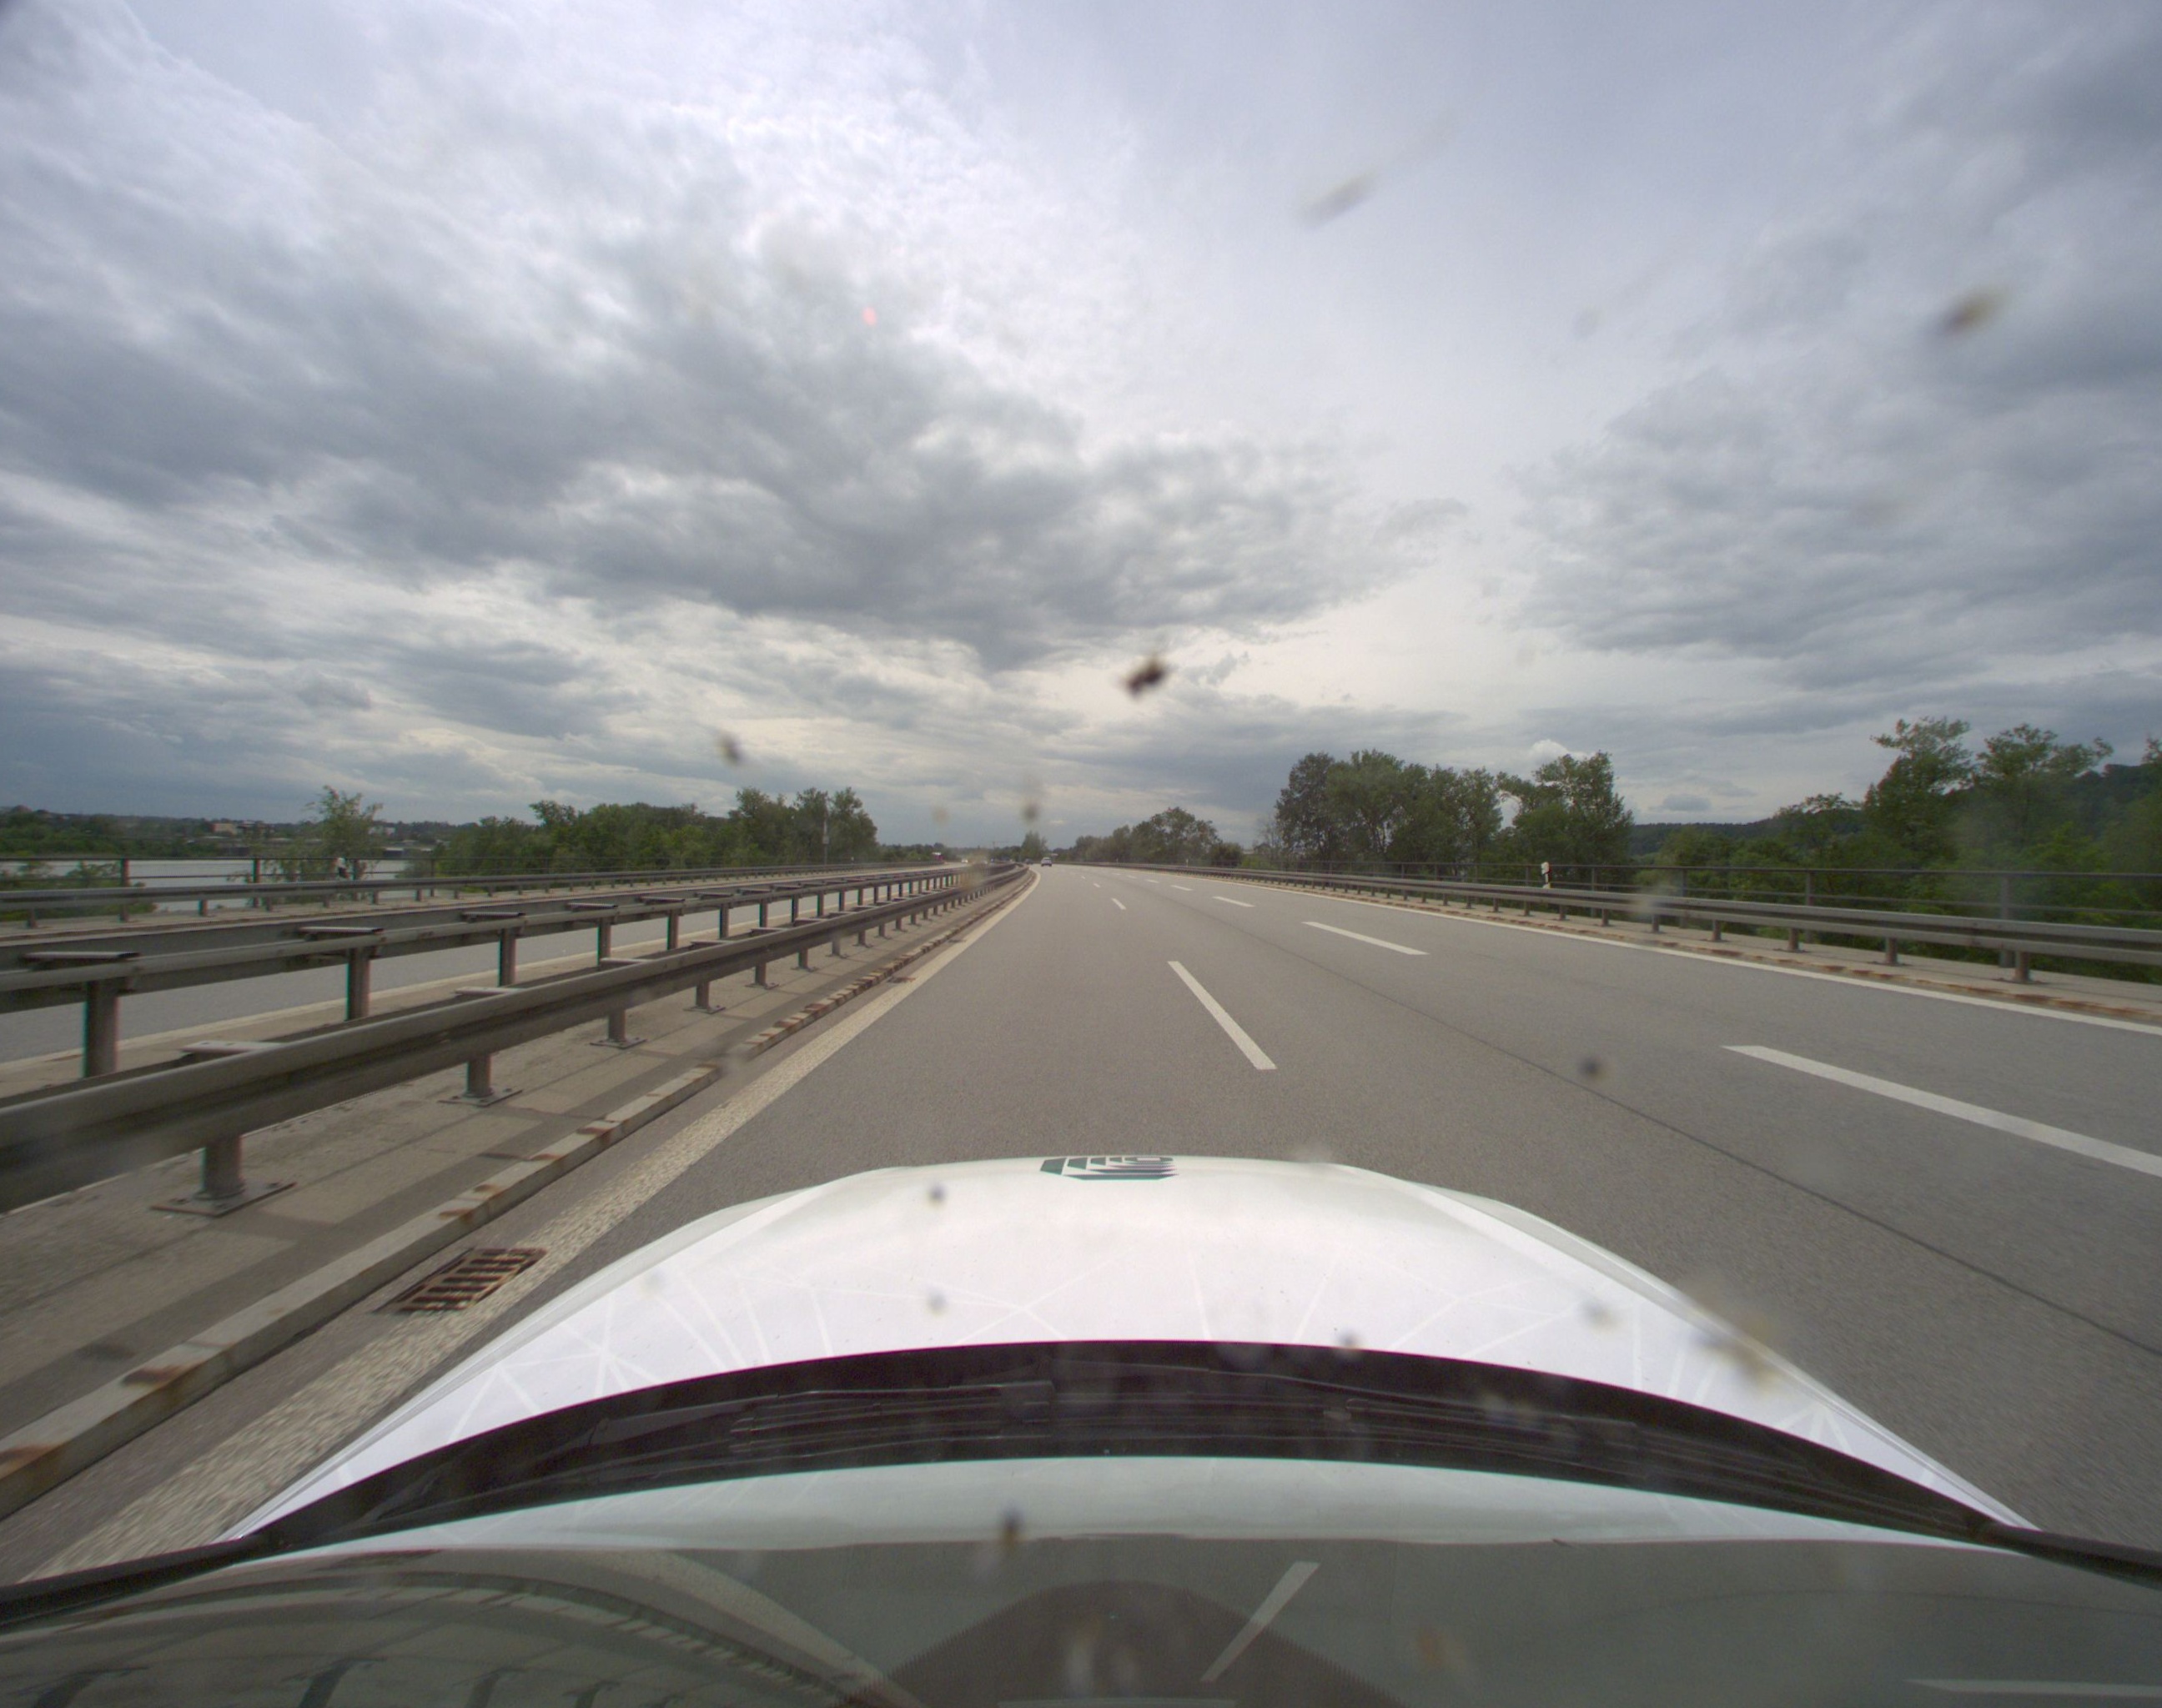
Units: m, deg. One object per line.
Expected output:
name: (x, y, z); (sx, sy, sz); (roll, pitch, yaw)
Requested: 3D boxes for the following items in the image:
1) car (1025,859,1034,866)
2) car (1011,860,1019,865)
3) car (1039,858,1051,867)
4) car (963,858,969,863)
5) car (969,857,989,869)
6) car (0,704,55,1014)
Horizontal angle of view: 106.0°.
car: (-12.926, 2.097, 203.261); (1.892, 1.640, 4.607); (1, 0, -9)
car: (-19.718, 2.491, 244.165); (1.903, 1.640, 4.762); (1, 0, -11)
car: (-6.962, 1.584, 157.486); (1.902, 1.640, 4.382); (1, -1, -9)
car: (-34.819, 2.057, 245.831); (1.529, 1.407, 4.319); (1, 0, -6)
car: (-11.477, 0.998, 91.956); (1.767, 1.387, 4.384); (0, 0, -2)
car: (-8.931, 0.018, 3.098); (1.988, 2.293, 6.394); (0, 0, -1)
